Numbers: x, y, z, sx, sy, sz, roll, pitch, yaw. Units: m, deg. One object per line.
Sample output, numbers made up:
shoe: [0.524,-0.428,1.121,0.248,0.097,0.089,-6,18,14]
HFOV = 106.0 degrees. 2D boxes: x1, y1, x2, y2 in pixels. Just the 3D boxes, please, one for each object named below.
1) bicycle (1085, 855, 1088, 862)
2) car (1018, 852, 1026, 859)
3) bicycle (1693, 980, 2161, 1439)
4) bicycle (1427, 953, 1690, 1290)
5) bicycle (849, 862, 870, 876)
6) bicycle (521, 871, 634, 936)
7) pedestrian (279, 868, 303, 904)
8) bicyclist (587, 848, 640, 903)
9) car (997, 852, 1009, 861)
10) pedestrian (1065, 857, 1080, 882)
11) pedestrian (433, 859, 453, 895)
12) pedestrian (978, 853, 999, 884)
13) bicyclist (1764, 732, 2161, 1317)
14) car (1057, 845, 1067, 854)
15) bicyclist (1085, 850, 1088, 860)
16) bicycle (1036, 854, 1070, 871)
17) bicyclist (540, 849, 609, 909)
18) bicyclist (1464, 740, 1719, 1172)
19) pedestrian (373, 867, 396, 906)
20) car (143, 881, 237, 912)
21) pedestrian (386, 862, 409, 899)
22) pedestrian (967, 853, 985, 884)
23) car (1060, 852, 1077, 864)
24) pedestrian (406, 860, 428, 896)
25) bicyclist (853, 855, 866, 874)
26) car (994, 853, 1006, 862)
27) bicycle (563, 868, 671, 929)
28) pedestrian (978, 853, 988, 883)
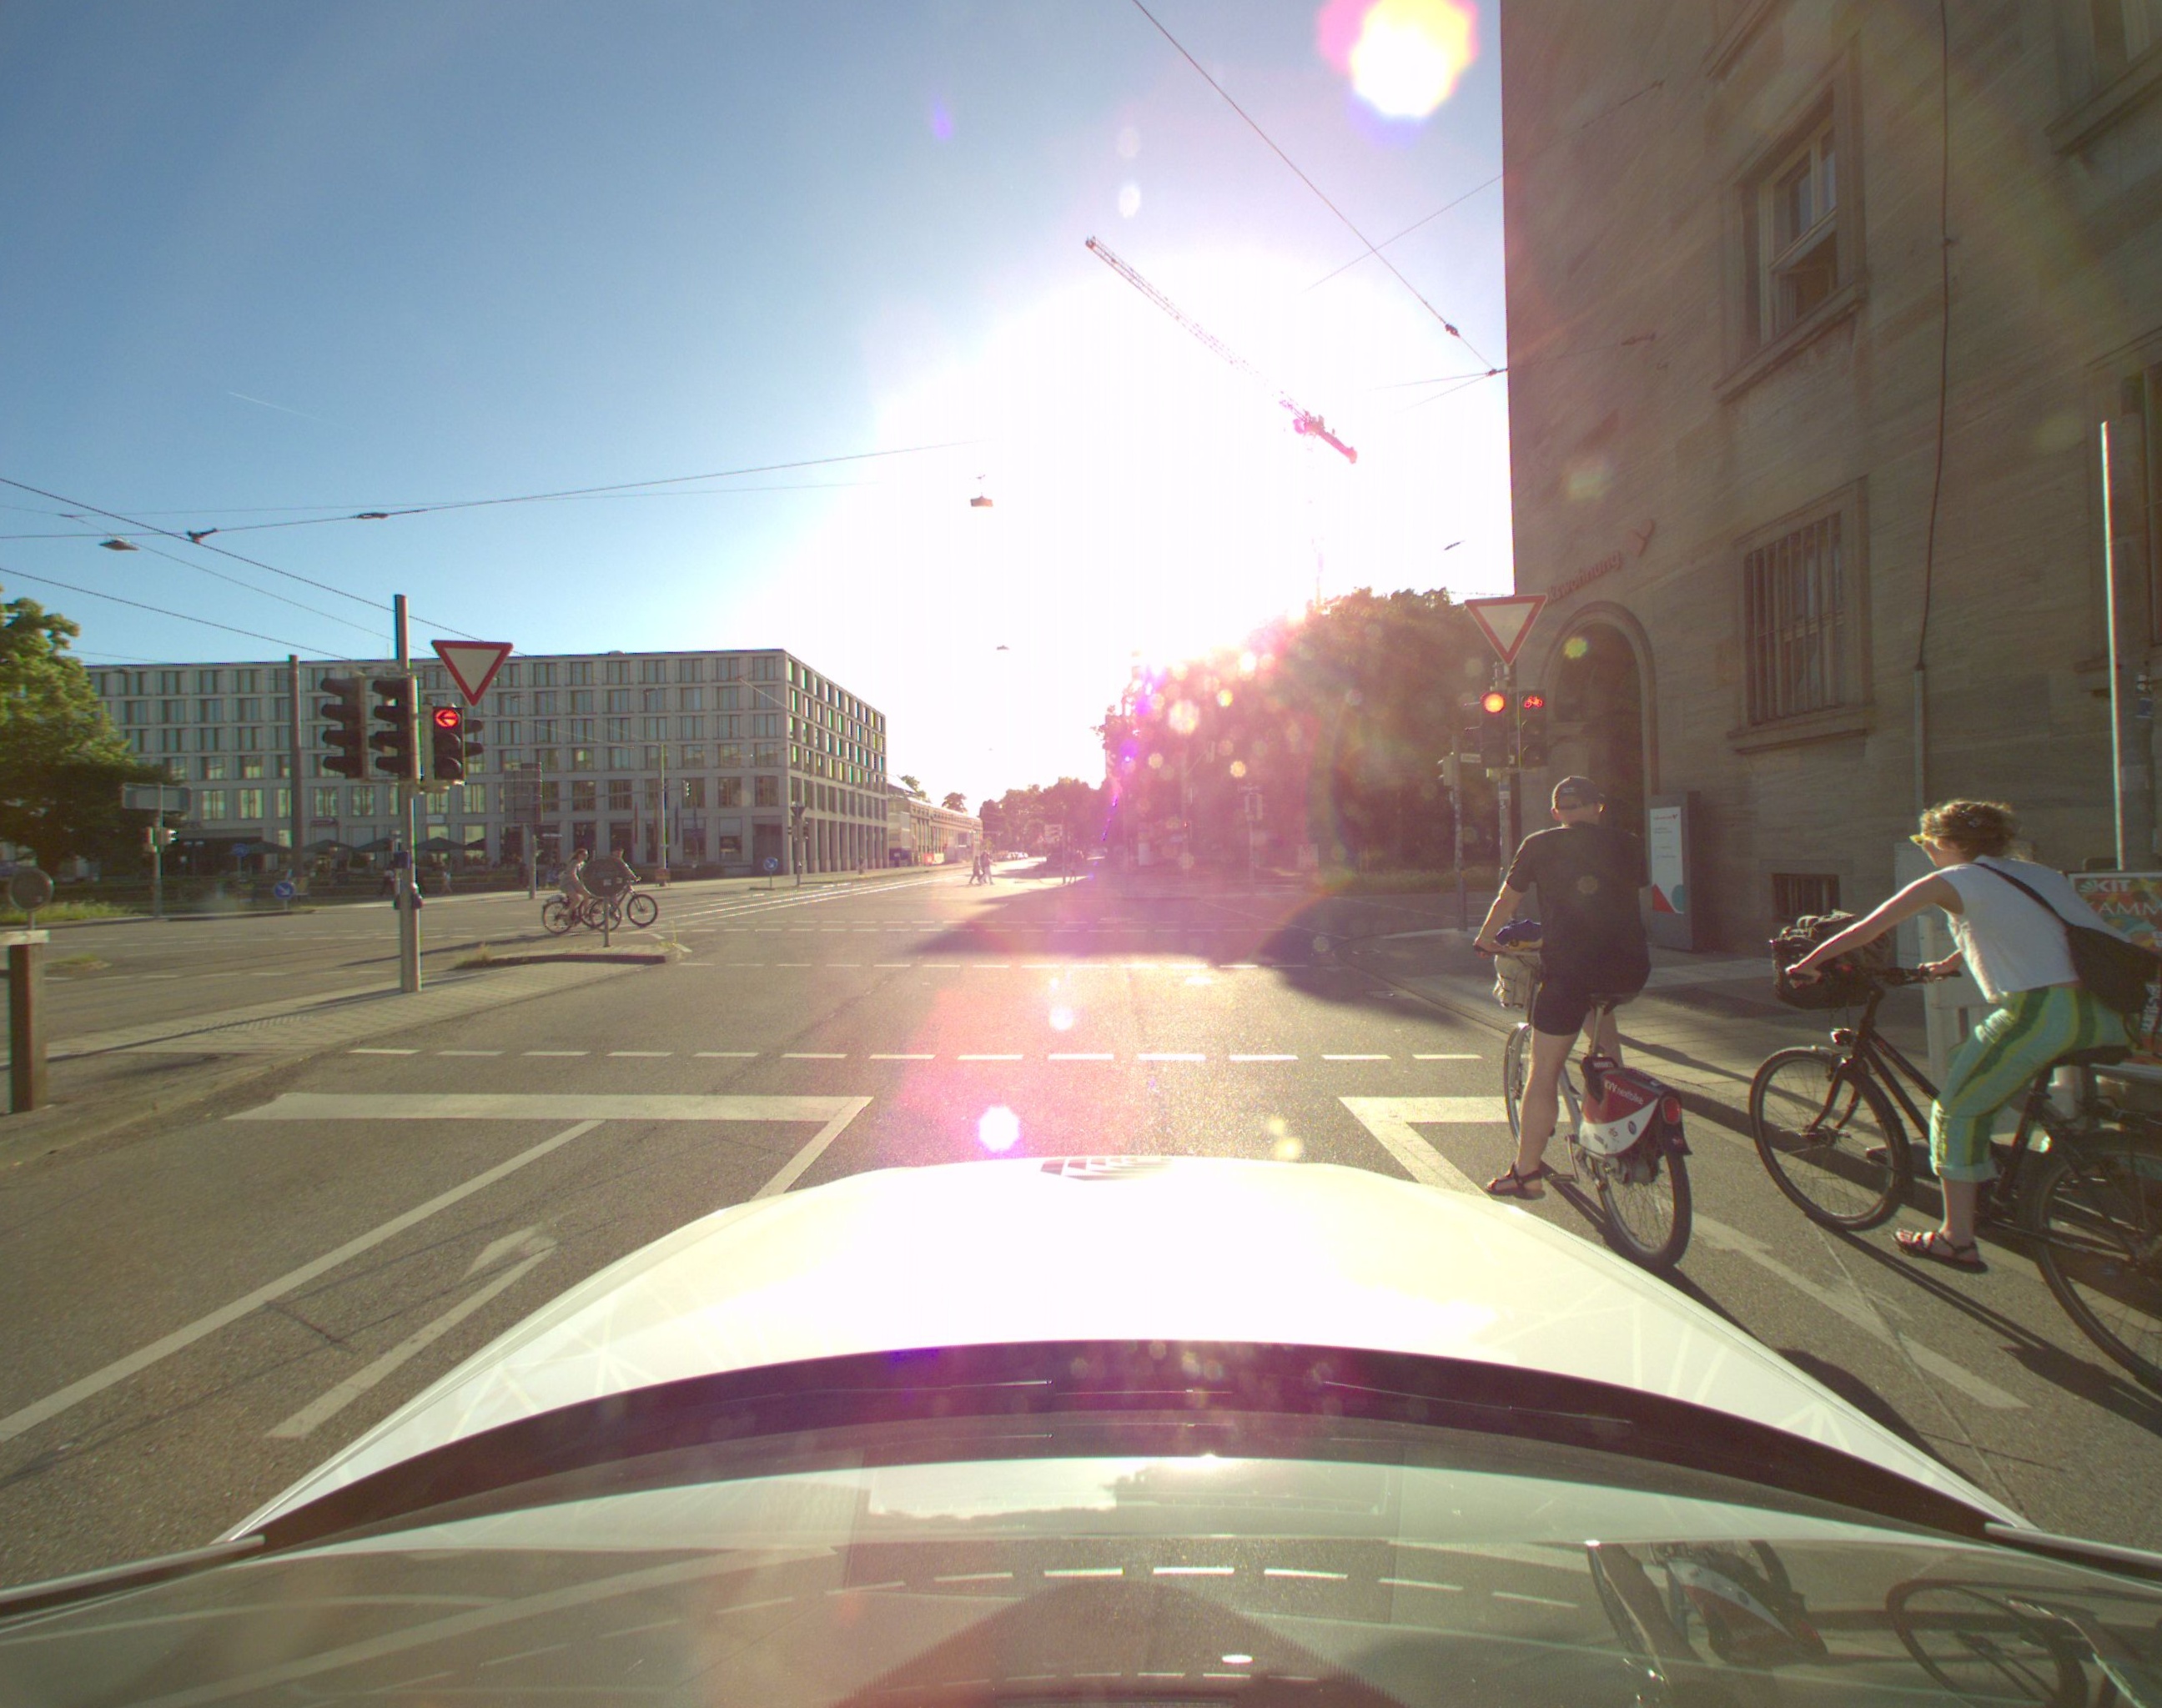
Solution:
bicycle: [0.707,0.512,99.194,0.323,0.868,1.484,-2,0,2]
car: [-14.059,0.335,194.736,1.478,1.750,4.002,-2,0,2]
bicycle: [2.977,1.026,2.778,0.424,0.876,1.953,-2,0,5]
bicycle: [2.054,1.038,3.780,0.387,0.905,1.956,-2,0,10]
bicycle: [-19.129,1.307,70.455,0.872,1.121,3.015,-2,0,3]
bicycle: [-10.621,1.030,17.230,1.846,1.291,0.791,-2,0,-2]
pedestrian: [-42.904,1.744,44.235,0.557,1.903,0.684,-2,0,10]
bicyclist: [-10.675,0.487,18.625,0.718,1.218,0.798,-2,0,1]
car: [-15.347,0.514,160.709,1.724,1.653,4.002,-2,0,2]
pedestrian: [-0.471,0.845,44.622,0.749,1.332,0.743,-2,0,3]
pedestrian: [-36.030,1.275,45.993,0.528,2.013,0.800,-2,0,-5]
pedestrian: [-4.924,0.769,43.511,0.980,1.587,0.661,-2,-1,3]
bicyclist: [2.962,0.494,2.783,0.519,1.679,0.860,-2,0,5]
car: [-4.425,-1.069,190.070,1.986,2.013,4.002,-2,0,2]
bicyclist: [0.685,0.143,99.037,0.317,1.127,0.291,-2,0,1]
bicycle: [-2.324,0.730,67.367,2.728,1.367,0.633,-1,-1,12]
bicyclist: [-10.704,0.517,17.238,0.922,1.218,0.796,-2,0,-1]
bicyclist: [2.148,0.404,3.517,0.666,1.678,0.658,-2,0,5]
pedestrian: [-37.564,1.740,43.928,0.528,2.013,0.800,-2,0,-5]
car: [-46.862,2.230,42.861,3.177,1.438,1.470,-2,0,-3]
pedestrian: [-37.631,1.457,44.835,0.528,2.013,0.800,-2,0,-5]
pedestrian: [-5.655,0.786,43.882,0.792,1.639,0.534,-2,0,4]
car: [-1.377,0.441,91.494,1.814,1.279,3.999,-2,0,0]
pedestrian: [-37.278,1.344,45.737,0.528,2.013,0.800,-2,0,-5]
bicyclist: [-19.129,0.885,70.311,0.872,1.641,0.822,-2,0,3]
car: [-15.605,0.575,156.555,1.724,1.653,4.002,-2,0,2]
bicycle: [-10.584,0.999,18.617,1.979,1.291,0.792,-2,0,0]
pedestrian: [-5.426,0.765,45.180,0.440,1.662,0.376,-2,0,1]
